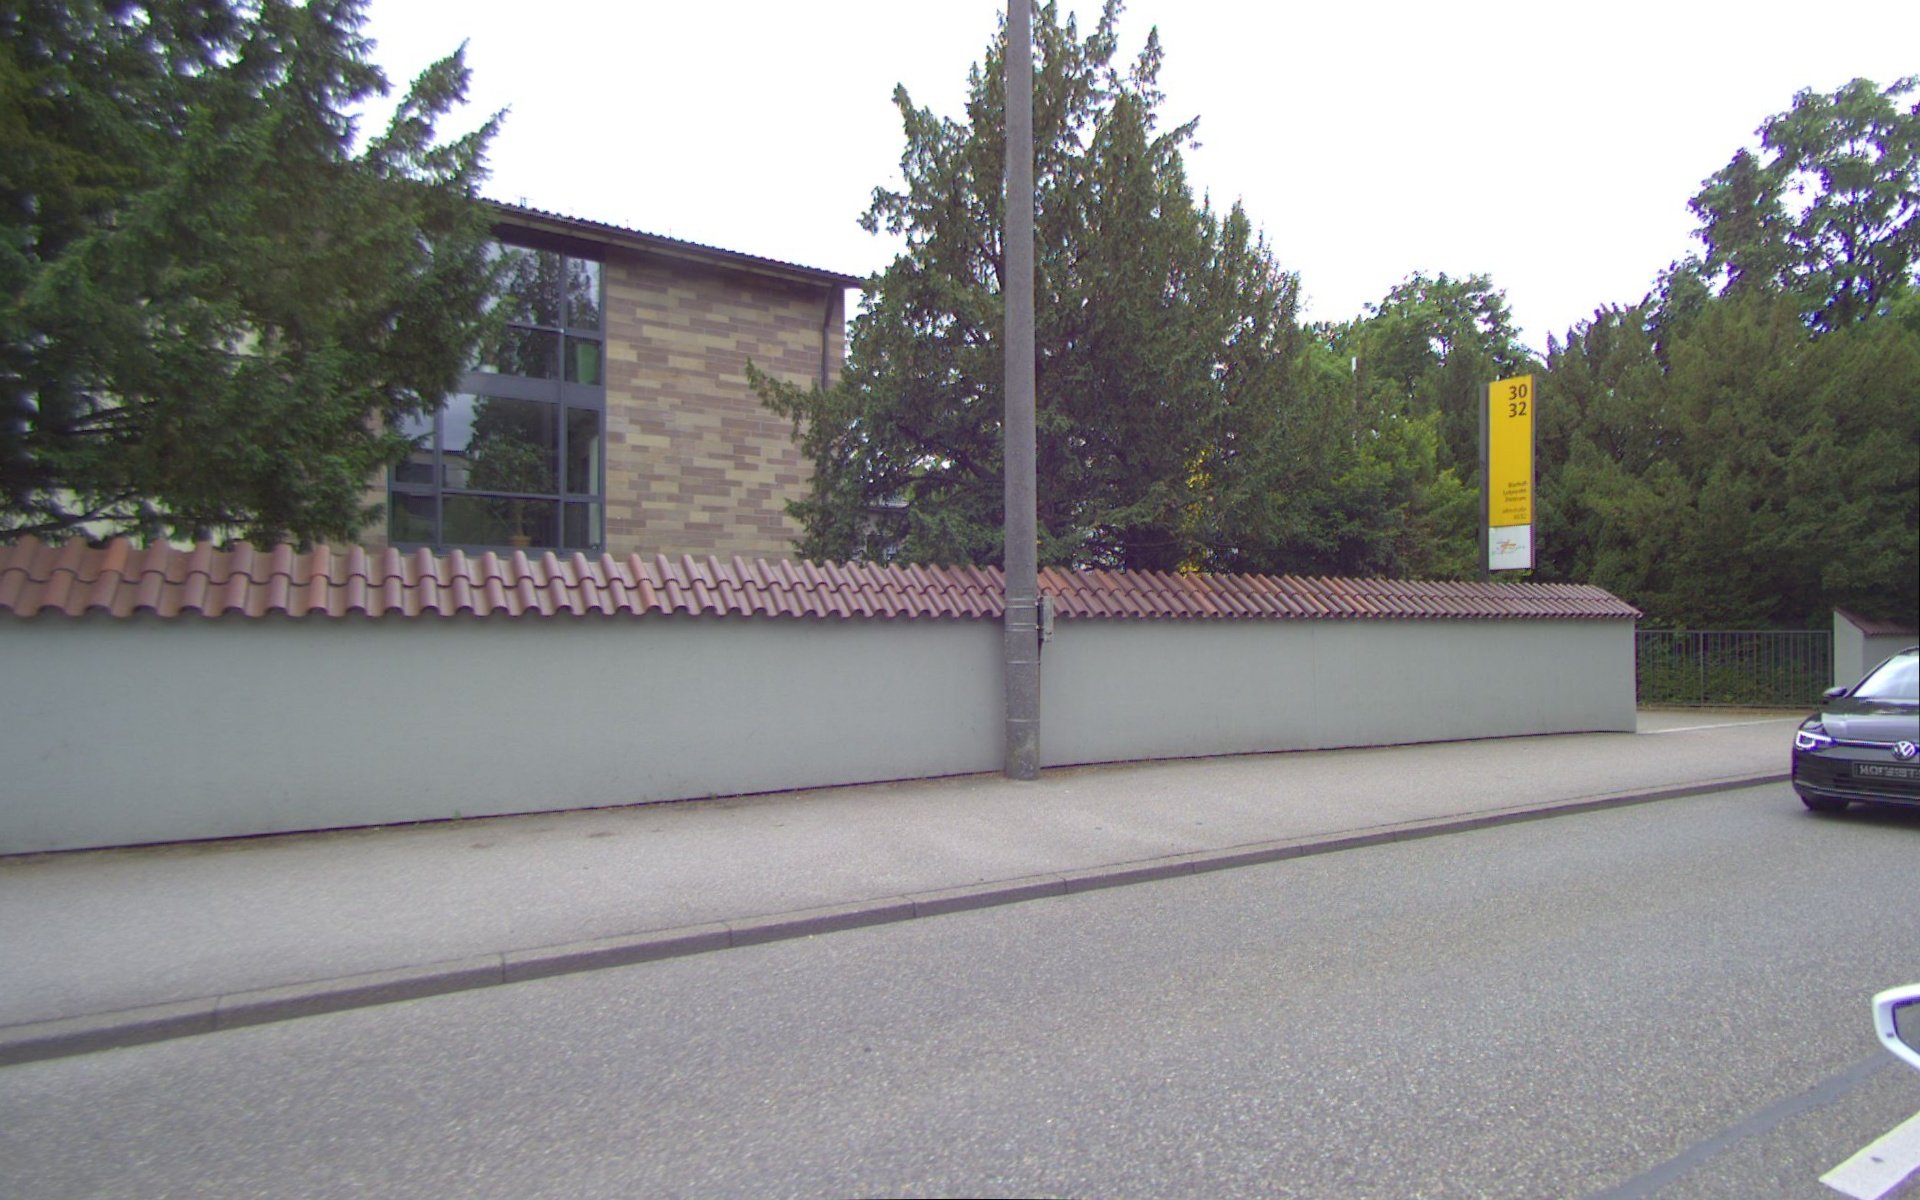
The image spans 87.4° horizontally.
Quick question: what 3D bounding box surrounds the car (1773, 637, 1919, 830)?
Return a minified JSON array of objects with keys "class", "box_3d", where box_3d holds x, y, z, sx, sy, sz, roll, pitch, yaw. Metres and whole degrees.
[{"class":"car","box_3d":[8.867,1.050,8.644,3.957,1.447,1.775,2,-2,-33]}]
